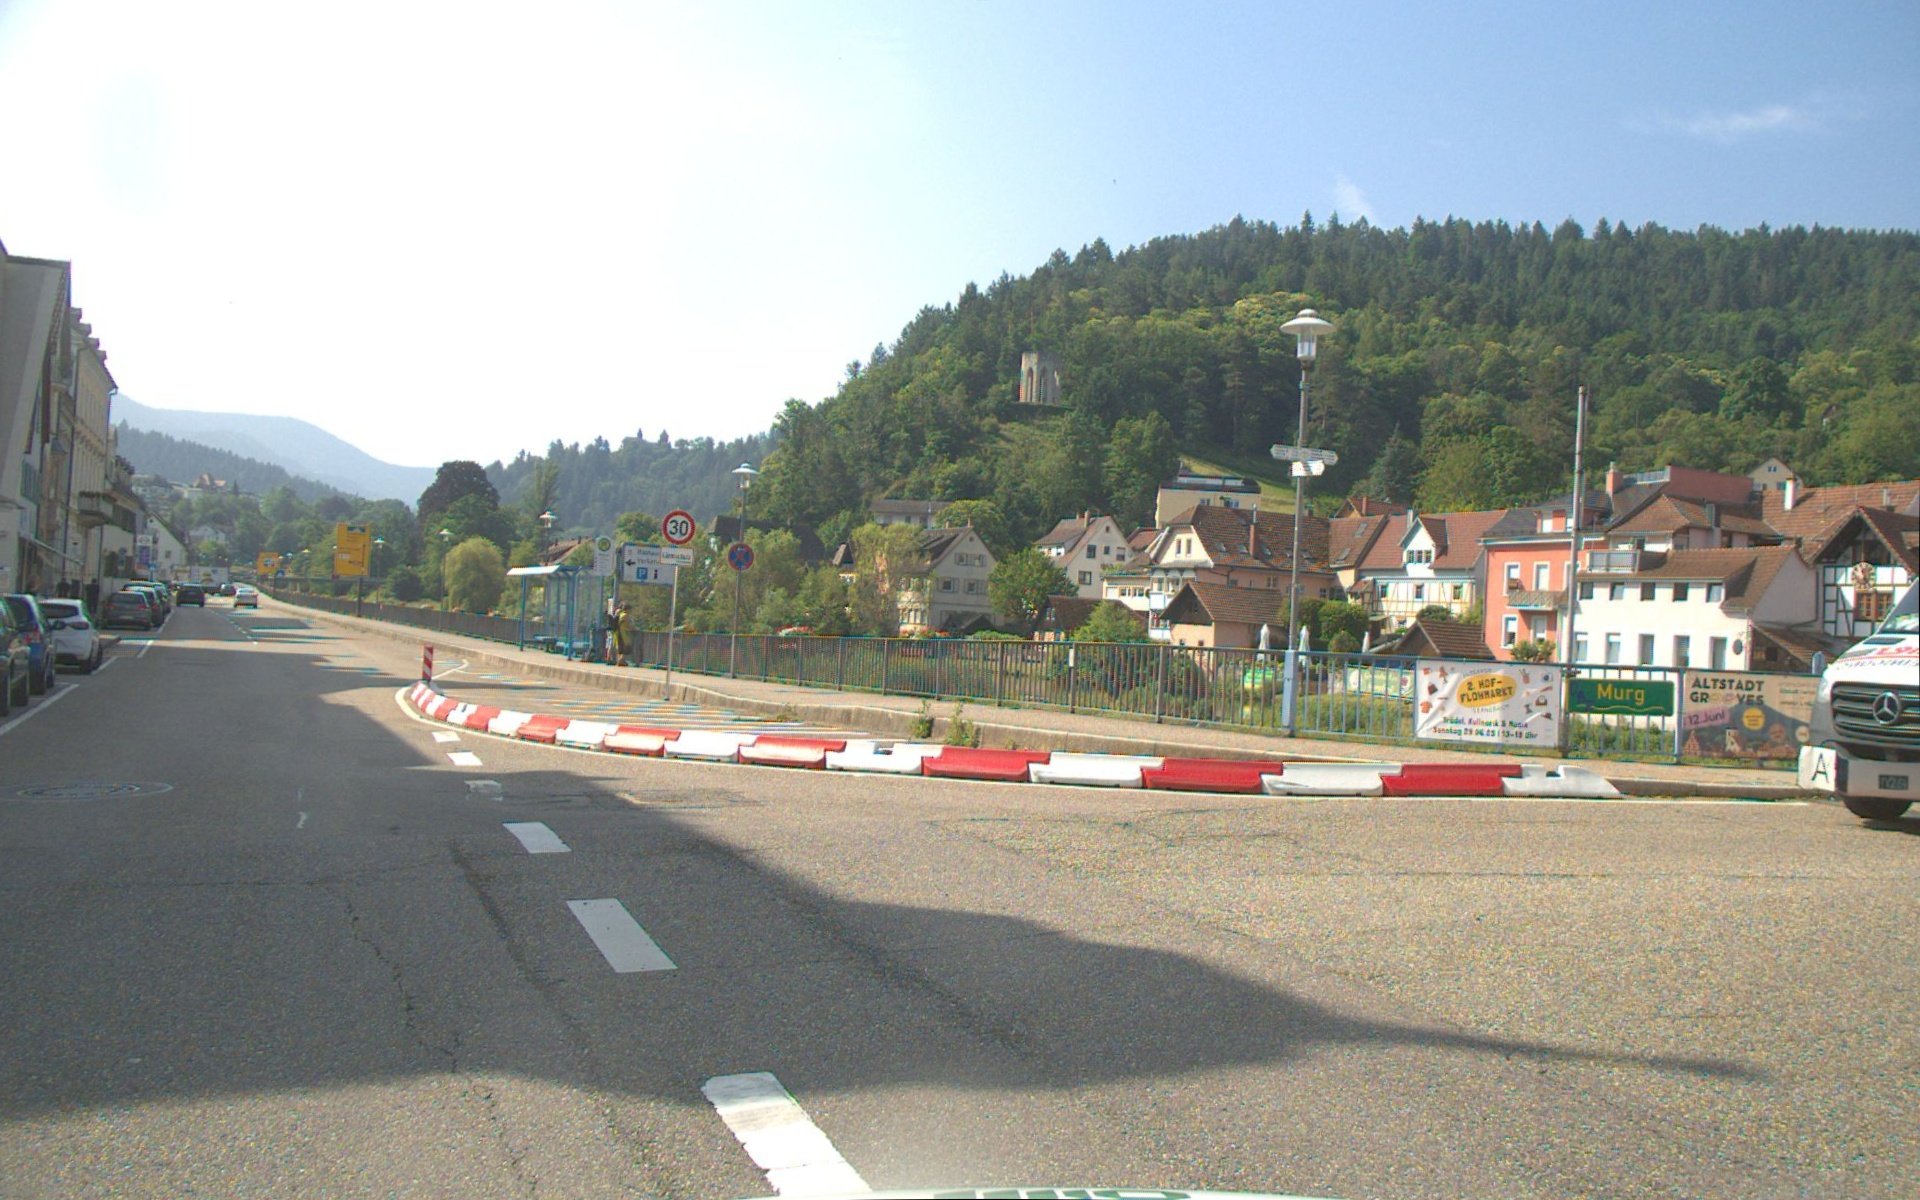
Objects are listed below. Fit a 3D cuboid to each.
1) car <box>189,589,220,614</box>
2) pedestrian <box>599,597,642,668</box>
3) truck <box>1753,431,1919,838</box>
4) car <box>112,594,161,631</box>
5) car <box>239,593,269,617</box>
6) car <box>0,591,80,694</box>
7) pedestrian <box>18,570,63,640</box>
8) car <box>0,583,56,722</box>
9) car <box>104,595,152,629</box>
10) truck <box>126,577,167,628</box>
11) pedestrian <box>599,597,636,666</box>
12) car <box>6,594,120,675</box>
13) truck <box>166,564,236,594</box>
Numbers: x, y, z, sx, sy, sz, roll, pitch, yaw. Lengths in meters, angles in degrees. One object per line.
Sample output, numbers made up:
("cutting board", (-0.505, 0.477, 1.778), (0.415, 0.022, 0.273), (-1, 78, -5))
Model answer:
("car", (-57.063, 0.102, 124.912), (1.968, 1.691, 3.970), (4, -1, -24))
("pedestrian", (-8.624, 0.822, 42.029), (0.855, 1.736, 0.772), (3, -1, -23))
("truck", (9.602, 0.299, 12.835), (7.011, 2.746, 2.097), (1, -1, -23))
("car", (-35.193, 0.509, 70.724), (1.725, 1.473, 3.250), (3, -1, -25))
("car", (-54.650, 0.378, 127.957), (1.968, 1.691, 3.970), (4, -1, -24))
("car", (-14.681, 0.608, 25.511), (1.725, 1.473, 3.250), (3, -1, -25))
("pedestrian", (-23.272, 0.126, 41.853), (0.674, 1.726, 0.660), (2, -1, 3))
("car", (-12.396, 0.575, 20.485), (1.824, 1.596, 3.539), (3, -1, -25))
("car", (-32.740, 0.466, 65.125), (1.544, 1.241, 3.250), (3, -1, -25))
("truck", (-42.100, 0.113, 85.651), (1.725, 2.511, 4.623), (3, -1, -25))
("pedestrian", (-8.826, 0.820, 42.637), (0.778, 1.736, 0.488), (3, -1, -23))
("car", (-17.916, 0.661, 33.168), (1.725, 1.473, 3.764), (3, -1, -25))
("truck", (-94.002, -2.578, 205.043), (3.005, 3.321, 9.213), (2, -1, 10))
